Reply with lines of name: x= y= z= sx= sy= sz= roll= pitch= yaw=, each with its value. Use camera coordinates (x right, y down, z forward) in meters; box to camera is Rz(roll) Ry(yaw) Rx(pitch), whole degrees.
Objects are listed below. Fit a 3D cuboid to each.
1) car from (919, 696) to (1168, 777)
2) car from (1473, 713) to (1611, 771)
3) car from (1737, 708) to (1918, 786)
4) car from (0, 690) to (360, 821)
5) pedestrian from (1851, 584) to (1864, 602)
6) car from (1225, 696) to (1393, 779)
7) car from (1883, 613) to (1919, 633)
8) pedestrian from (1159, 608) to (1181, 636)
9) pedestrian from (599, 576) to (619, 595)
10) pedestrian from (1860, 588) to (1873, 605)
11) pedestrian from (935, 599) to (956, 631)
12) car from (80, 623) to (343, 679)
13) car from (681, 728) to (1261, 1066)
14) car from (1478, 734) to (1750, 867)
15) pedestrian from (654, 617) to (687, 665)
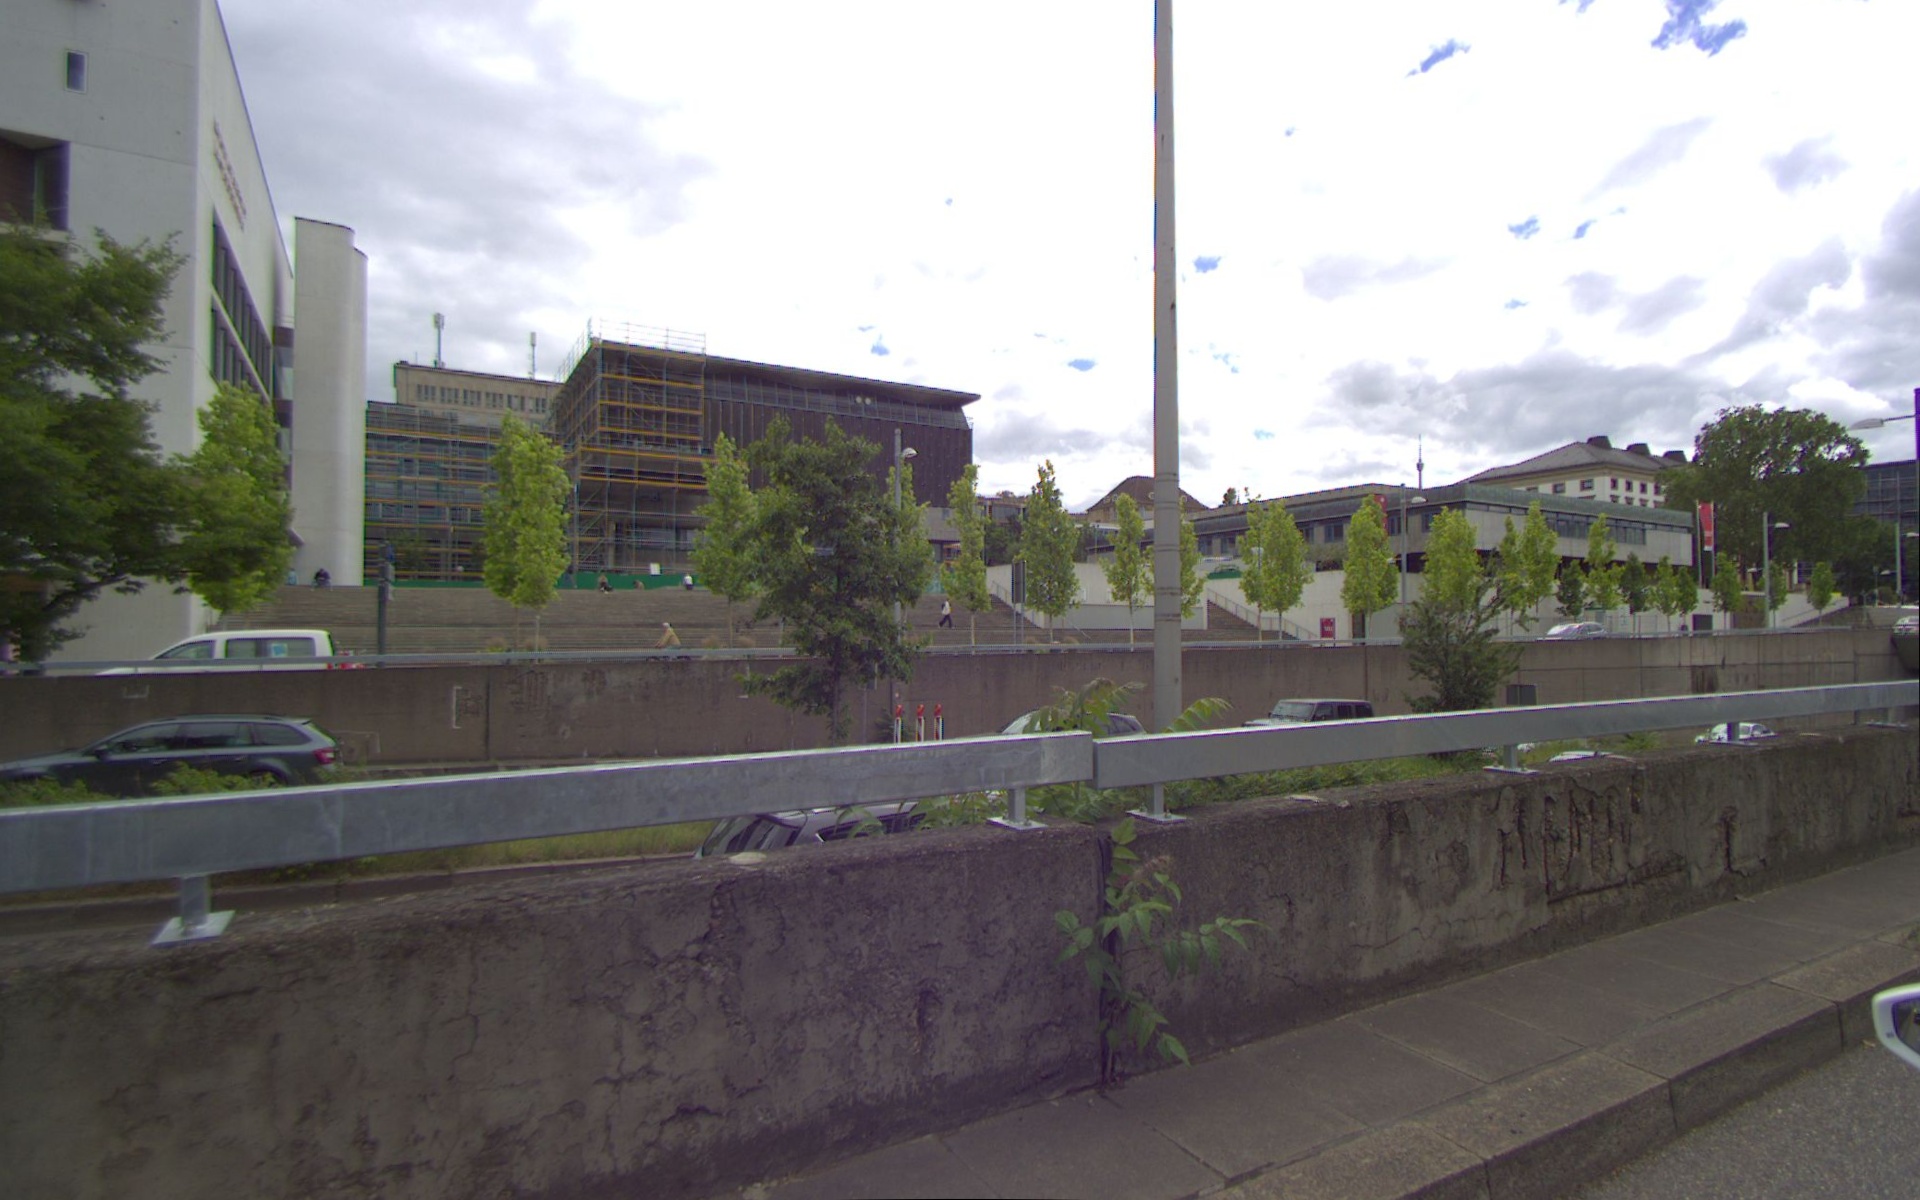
car: x=1.748 y=2.684 z=20.393 sx=4.796 sy=1.158 sz=1.983 roll=2 pitch=0 yaw=-32
car: x=16.377 y=3.944 z=28.237 sx=3.776 sy=1.289 sz=1.689 roll=3 pitch=-1 yaw=-30
car: x=21.315 y=3.537 z=24.647 sx=4.803 sy=1.479 sz=1.804 roll=2 pitch=-1 yaw=-29
car: x=-12.047 y=2.311 z=15.670 sx=4.526 sy=1.559 sz=1.869 roll=2 pitch=0 yaw=-30
pedestrian: x=88.425 y=-0.650 z=98.961 sx=0.628 sy=1.752 sz=0.695 roll=2 pitch=0 yaw=5
car: x=9.945 y=3.818 z=28.528 sx=4.848 sy=1.922 sz=1.808 roll=2 pitch=0 yaw=-31
car: x=74.972 y=1.821 z=79.499 sx=3.665 sy=1.446 sz=1.800 roll=2 pitch=0 yaw=-31
pedestrian: x=12.676 y=1.328 z=60.633 sx=0.991 sy=1.662 sz=0.638 roll=1 pitch=3 yaw=-30
pedestrian: x=-17.833 y=-0.738 z=51.004 sx=0.849 sy=0.895 sz=0.638 roll=2 pitch=3 yaw=-30
pedestrian: x=96.003 y=-0.330 z=106.362 sx=0.629 sy=1.752 sz=0.694 roll=2 pitch=0 yaw=-5
pedestrian: x=-0.789 y=0.808 z=54.480 sx=0.849 sy=1.662 sz=0.638 roll=1 pitch=4 yaw=-30
car: x=-17.333 y=1.177 z=23.625 sx=4.753 sy=1.133 sz=1.800 roll=2 pitch=0 yaw=-31
car: x=0.182 y=2.180 z=8.484 sx=4.601 sy=1.738 sz=1.885 roll=0 pitch=-1 yaw=-29
car: x=10.984 y=3.212 z=16.795 sx=4.755 sy=1.502 sz=1.983 roll=1 pitch=-2 yaw=-32
pedestrian: x=-10.203 y=1.439 z=35.370 sx=0.993 sy=1.662 sz=0.731 roll=1 pitch=-1 yaw=-30
